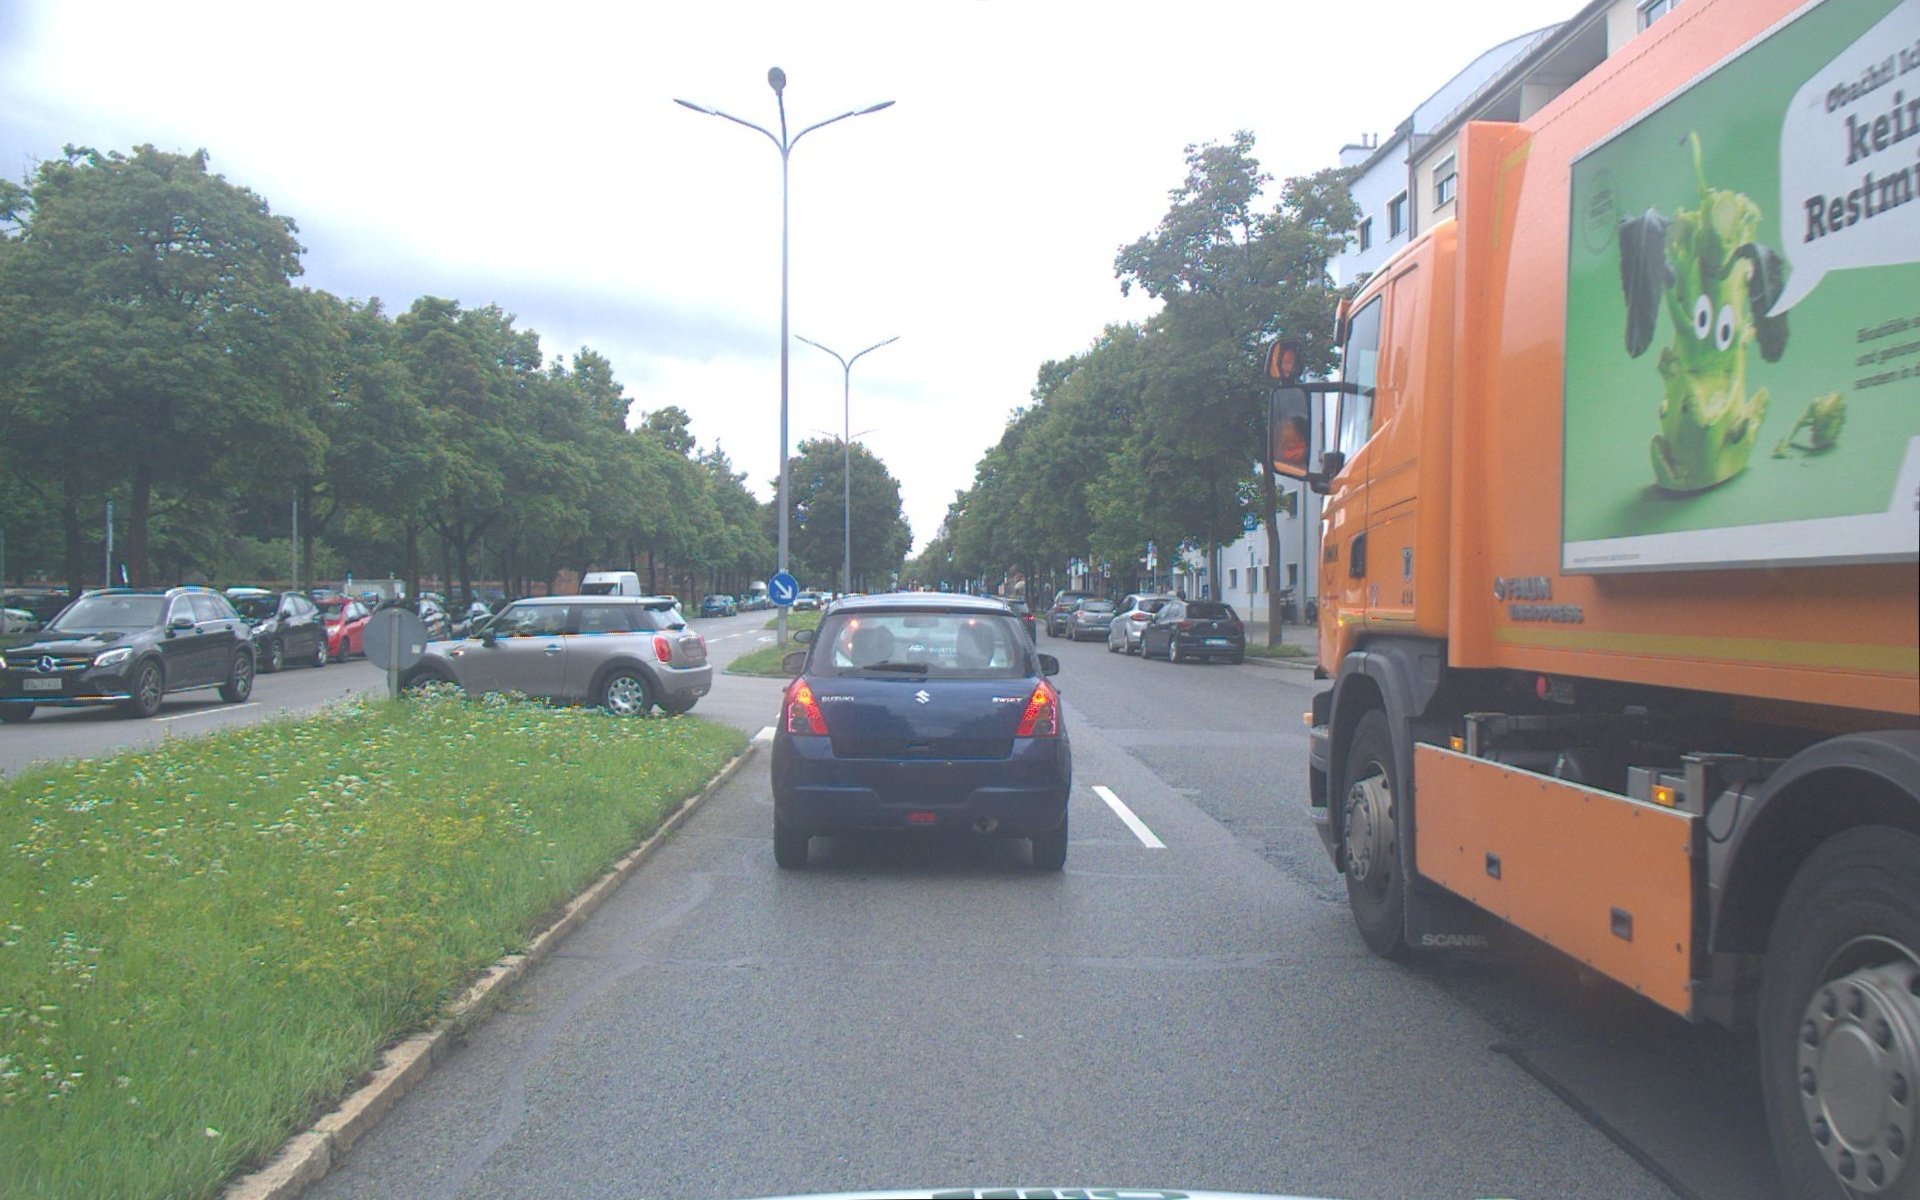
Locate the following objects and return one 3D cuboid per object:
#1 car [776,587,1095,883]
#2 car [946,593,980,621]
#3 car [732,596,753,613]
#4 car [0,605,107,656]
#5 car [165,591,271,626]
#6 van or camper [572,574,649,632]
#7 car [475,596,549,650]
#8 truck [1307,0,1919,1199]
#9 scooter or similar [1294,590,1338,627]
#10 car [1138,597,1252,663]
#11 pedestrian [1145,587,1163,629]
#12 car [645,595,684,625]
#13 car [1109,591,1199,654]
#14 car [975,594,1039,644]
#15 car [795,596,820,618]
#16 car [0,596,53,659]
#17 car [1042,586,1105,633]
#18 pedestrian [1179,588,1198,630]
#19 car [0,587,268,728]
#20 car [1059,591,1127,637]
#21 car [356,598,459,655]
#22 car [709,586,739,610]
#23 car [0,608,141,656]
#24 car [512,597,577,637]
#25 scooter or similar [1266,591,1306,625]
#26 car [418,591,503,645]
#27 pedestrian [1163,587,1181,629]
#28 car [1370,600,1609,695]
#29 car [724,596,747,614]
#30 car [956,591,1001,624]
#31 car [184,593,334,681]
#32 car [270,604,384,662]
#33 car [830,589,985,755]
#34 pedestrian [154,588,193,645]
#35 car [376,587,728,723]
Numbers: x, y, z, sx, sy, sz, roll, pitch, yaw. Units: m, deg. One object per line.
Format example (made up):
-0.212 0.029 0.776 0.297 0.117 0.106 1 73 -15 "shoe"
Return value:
-0.206 0.687 10.547 1.648 1.528 3.917 0 0 -3 "car"
0.124 0.367 87.854 1.648 1.408 3.917 1 0 -2 "car"
-20.394 0.423 155.205 1.599 1.610 3.877 1 0 -2 "car"
-28.135 0.897 49.982 3.792 1.471 1.670 1 0 -7 "car"
-32.046 0.365 71.512 3.792 1.471 1.670 1 0 -7 "car"
-16.154 0.126 76.843 2.074 2.525 7.447 1 0 -1 "van or camper"
-15.479 0.780 57.341 1.599 1.771 3.877 1 0 -2 "car"
3.258 -0.110 3.478 2.977 3.245 9.131 1 0 -1 "truck"
13.284 0.307 61.846 1.012 1.330 2.755 0 0 -1 "scooter or similar"
5.557 0.680 39.576 1.829 1.442 4.220 0 0 -5 "car"
9.560 0.394 81.512 0.778 2.049 1.006 0 0 -1 "pedestrian"
-16.455 0.558 92.362 1.599 1.610 3.877 1 0 -2 "car"
5.155 0.563 44.339 1.756 1.585 4.222 0 0 -2 "car"
1.422 0.574 51.808 1.723 1.438 4.461 1 0 -2 "car"
-11.393 0.499 123.850 1.599 1.580 3.877 1 0 -2 "car"
-28.208 0.761 47.030 3.844 1.748 1.670 1 0 -7 "car"
4.230 0.327 62.251 1.828 1.712 4.222 0 0 -3 "car"
11.243 0.419 81.504 0.778 2.049 1.006 0 0 -1 "pedestrian"
-11.086 0.685 22.234 1.731 1.651 4.505 -2 0 -2 "car"
4.586 0.457 57.589 1.828 1.544 4.222 0 0 -3 "car"
-15.127 0.705 45.469 1.634 1.471 3.877 1 0 -2 "car"
-16.443 -0.111 115.393 1.599 1.610 3.877 1 0 -2 "car"
-29.076 1.033 54.033 3.792 1.471 1.670 1 0 -7 "car"
-15.711 0.636 62.670 1.599 1.456 3.877 1 0 -2 "car"
12.982 0.314 65.923 1.012 1.330 2.755 0 0 -1 "scooter or similar"
-15.351 0.544 50.967 1.559 1.585 3.877 1 0 -2 "car"
10.444 0.407 81.458 0.778 2.049 1.006 0 0 -1 "pedestrian"
8.667 0.729 27.050 3.479 1.442 1.870 0 0 27 "car"
-19.724 0.439 145.402 1.599 1.610 3.877 1 0 -2 "car"
0.843 0.317 77.621 1.697 1.457 4.438 1 0 -5 "car"
-14.963 0.749 35.521 1.682 1.771 3.877 1 0 -2 "car"
-15.368 0.774 40.317 1.559 1.335 3.379 1 0 -2 "car"
-0.549 0.654 16.720 1.415 1.509 3.105 0 0 -3 "car"
-21.688 0.459 45.612 0.713 1.561 0.720 1 0 -1 "pedestrian"
-4.745 0.599 19.454 3.642 1.488 1.689 0 0 11 "car"
